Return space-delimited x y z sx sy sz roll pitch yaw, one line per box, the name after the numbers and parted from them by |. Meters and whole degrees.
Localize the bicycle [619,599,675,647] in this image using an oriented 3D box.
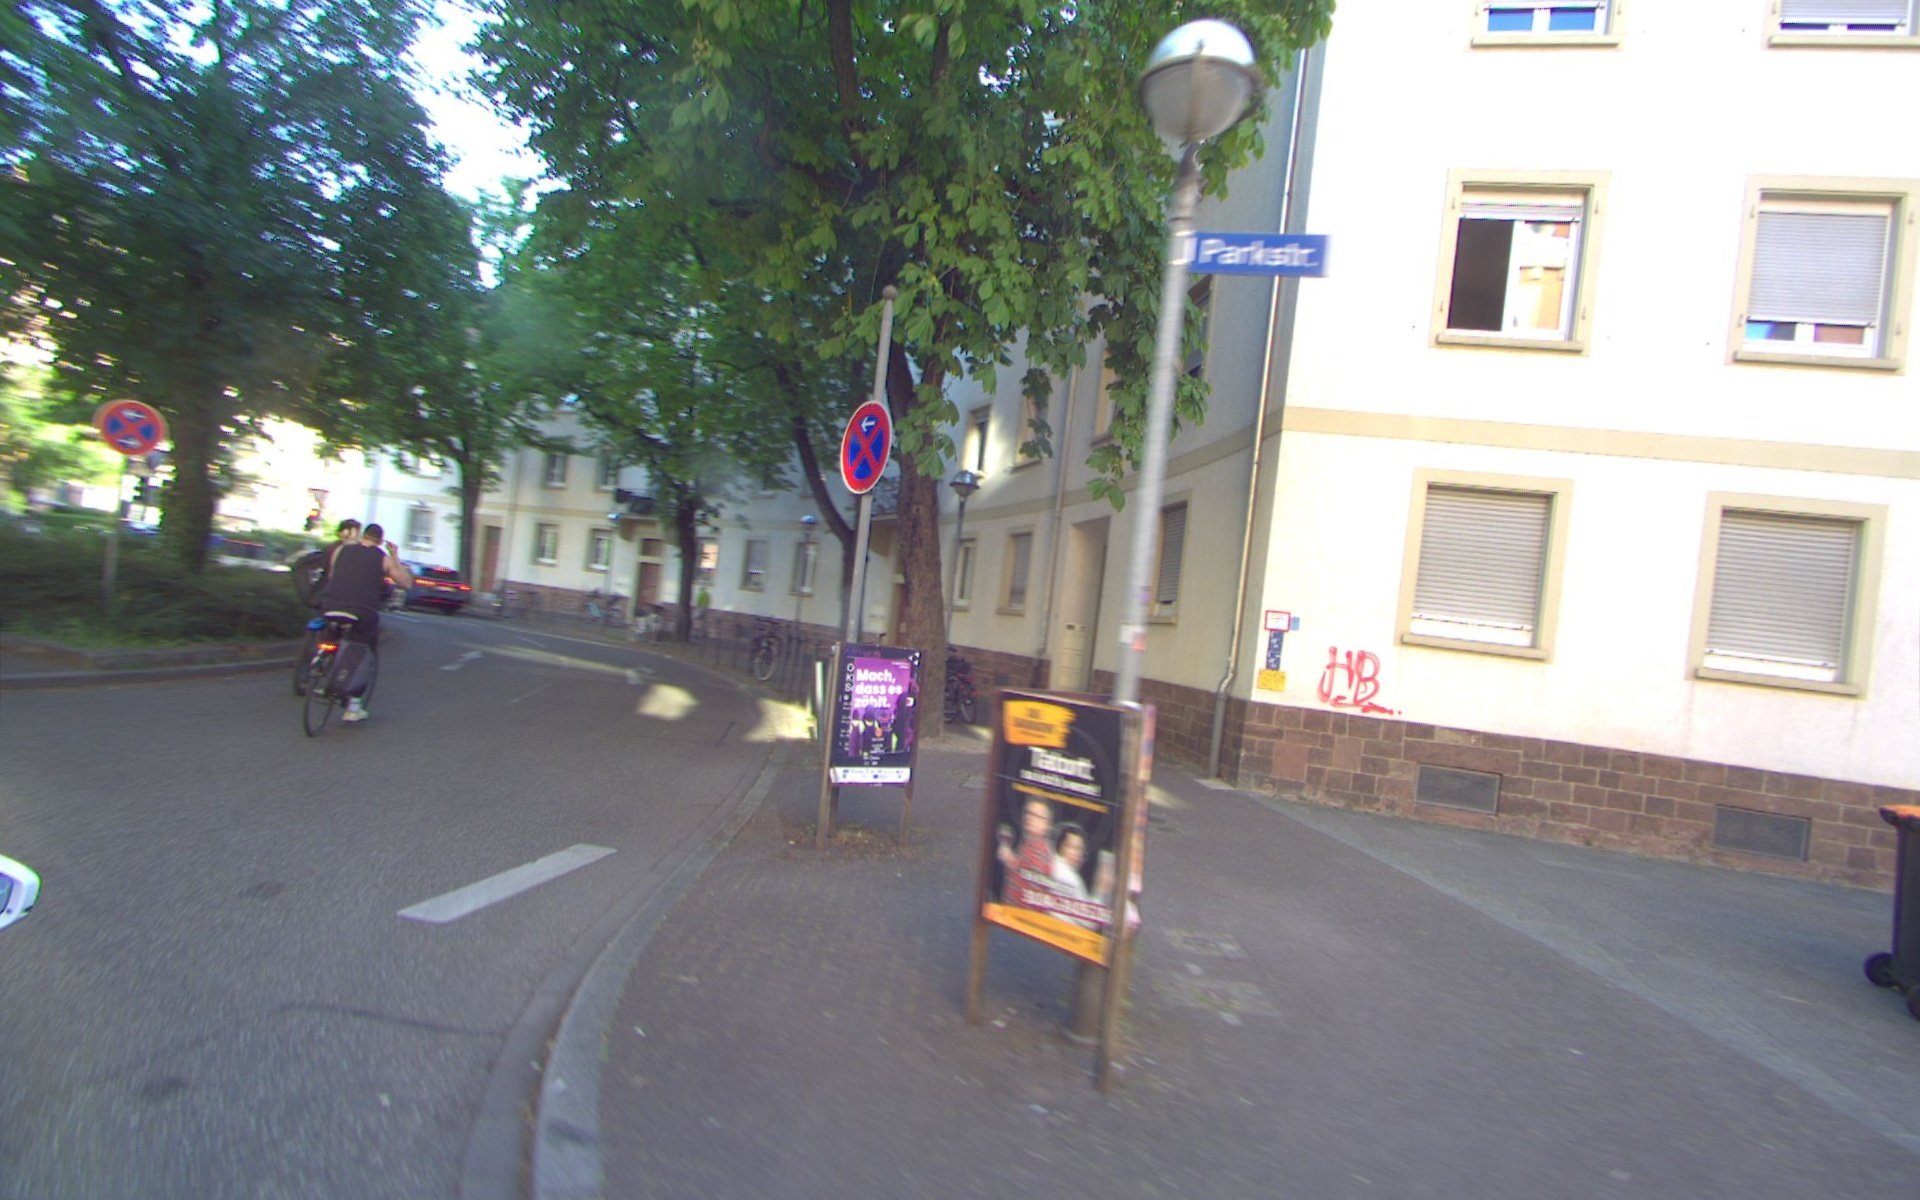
-8.686 0.630 27.894 0.613 1.127 1.967 3 2 -43 | bicycle

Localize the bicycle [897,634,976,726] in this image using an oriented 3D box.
-0.390 1.194 15.449 0.433 1.195 1.775 7 -1 -24 | bicycle

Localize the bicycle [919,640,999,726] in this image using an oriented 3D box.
-0.042 1.264 15.695 0.387 1.122 1.792 7 -1 -26 | bicycle

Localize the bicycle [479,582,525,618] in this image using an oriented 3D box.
-15.344 -0.001 33.643 2.162 1.011 0.519 6 -1 43 | bicycle

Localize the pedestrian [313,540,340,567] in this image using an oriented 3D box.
-50.113 -3.665 79.611 1.143 1.985 1.385 7 -1 -11 | pedestrian

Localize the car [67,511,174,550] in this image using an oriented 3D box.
-42.798 -3.504 51.454 1.965 1.515 4.369 7 0 -6 | car

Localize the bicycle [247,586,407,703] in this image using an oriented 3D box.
-6.653 0.452 10.709 0.665 1.066 2.058 6 -2 -11 | bicycle

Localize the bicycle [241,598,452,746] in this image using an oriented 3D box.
-5.116 0.551 8.577 0.728 1.024 2.058 8 -1 -10 | bicycle

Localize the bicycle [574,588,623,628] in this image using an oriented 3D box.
-12.252 0.252 34.069 2.086 1.188 0.493 6 3 39 | bicycle

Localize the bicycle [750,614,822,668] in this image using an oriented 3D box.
-4.398 1.021 25.352 1.795 1.197 0.671 4 0 37 | bicycle

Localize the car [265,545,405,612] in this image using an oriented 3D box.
-18.234 -0.638 29.325 3.893 1.563 1.814 5 0 31 | car

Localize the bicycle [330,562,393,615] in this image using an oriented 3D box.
-15.625 -0.306 26.263 2.011 1.175 0.597 6 -1 37 | bicycle

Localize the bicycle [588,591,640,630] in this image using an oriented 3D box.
-11.891 0.358 34.549 2.086 1.128 0.581 6 0 40 | bicycle

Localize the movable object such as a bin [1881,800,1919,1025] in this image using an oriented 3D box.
5.189 1.621 4.926 0.692 1.088 0.631 7 -1 14 | movable object such as a bin

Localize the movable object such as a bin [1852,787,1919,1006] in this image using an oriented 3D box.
5.522 1.658 5.500 0.661 1.096 0.593 7 -1 12 | movable object such as a bin

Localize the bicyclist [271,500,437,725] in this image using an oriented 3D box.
-5.036 0.106 8.431 0.742 1.702 0.912 7 0 -10 | bicyclist

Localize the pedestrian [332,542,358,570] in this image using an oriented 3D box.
-48.992 -3.481 80.089 1.143 1.985 1.385 7 -1 -11 | pedestrian

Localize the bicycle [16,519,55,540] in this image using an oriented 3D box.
-48.271 -3.687 52.550 0.442 0.872 1.448 7 -1 9 | bicycle

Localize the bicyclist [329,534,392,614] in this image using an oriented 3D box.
-15.645 -0.673 26.263 1.122 1.921 0.851 7 0 35 | bicyclist

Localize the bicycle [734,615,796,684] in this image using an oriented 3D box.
-3.861 0.939 19.785 0.673 1.172 1.990 6 -1 -24 | bicycle

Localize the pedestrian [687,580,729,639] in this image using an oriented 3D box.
-8.288 0.324 33.058 0.650 1.817 0.993 7 1 41 | pedestrian

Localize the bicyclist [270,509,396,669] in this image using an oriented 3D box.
-6.580 -0.098 10.616 0.662 1.532 1.067 6 -1 -12 | bicyclist

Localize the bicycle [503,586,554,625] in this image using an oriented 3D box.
-14.060 0.159 32.741 1.899 1.071 0.615 6 1 38 | bicycle

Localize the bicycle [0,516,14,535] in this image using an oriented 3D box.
-48.004 -3.779 50.108 0.442 0.872 1.225 7 -1 9 | bicycle

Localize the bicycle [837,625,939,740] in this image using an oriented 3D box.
-0.922 0.981 12.418 0.548 1.196 1.780 7 -1 -24 | bicycle

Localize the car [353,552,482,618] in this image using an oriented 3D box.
-17.430 -0.482 32.273 3.935 1.596 1.894 6 -1 33 | car
